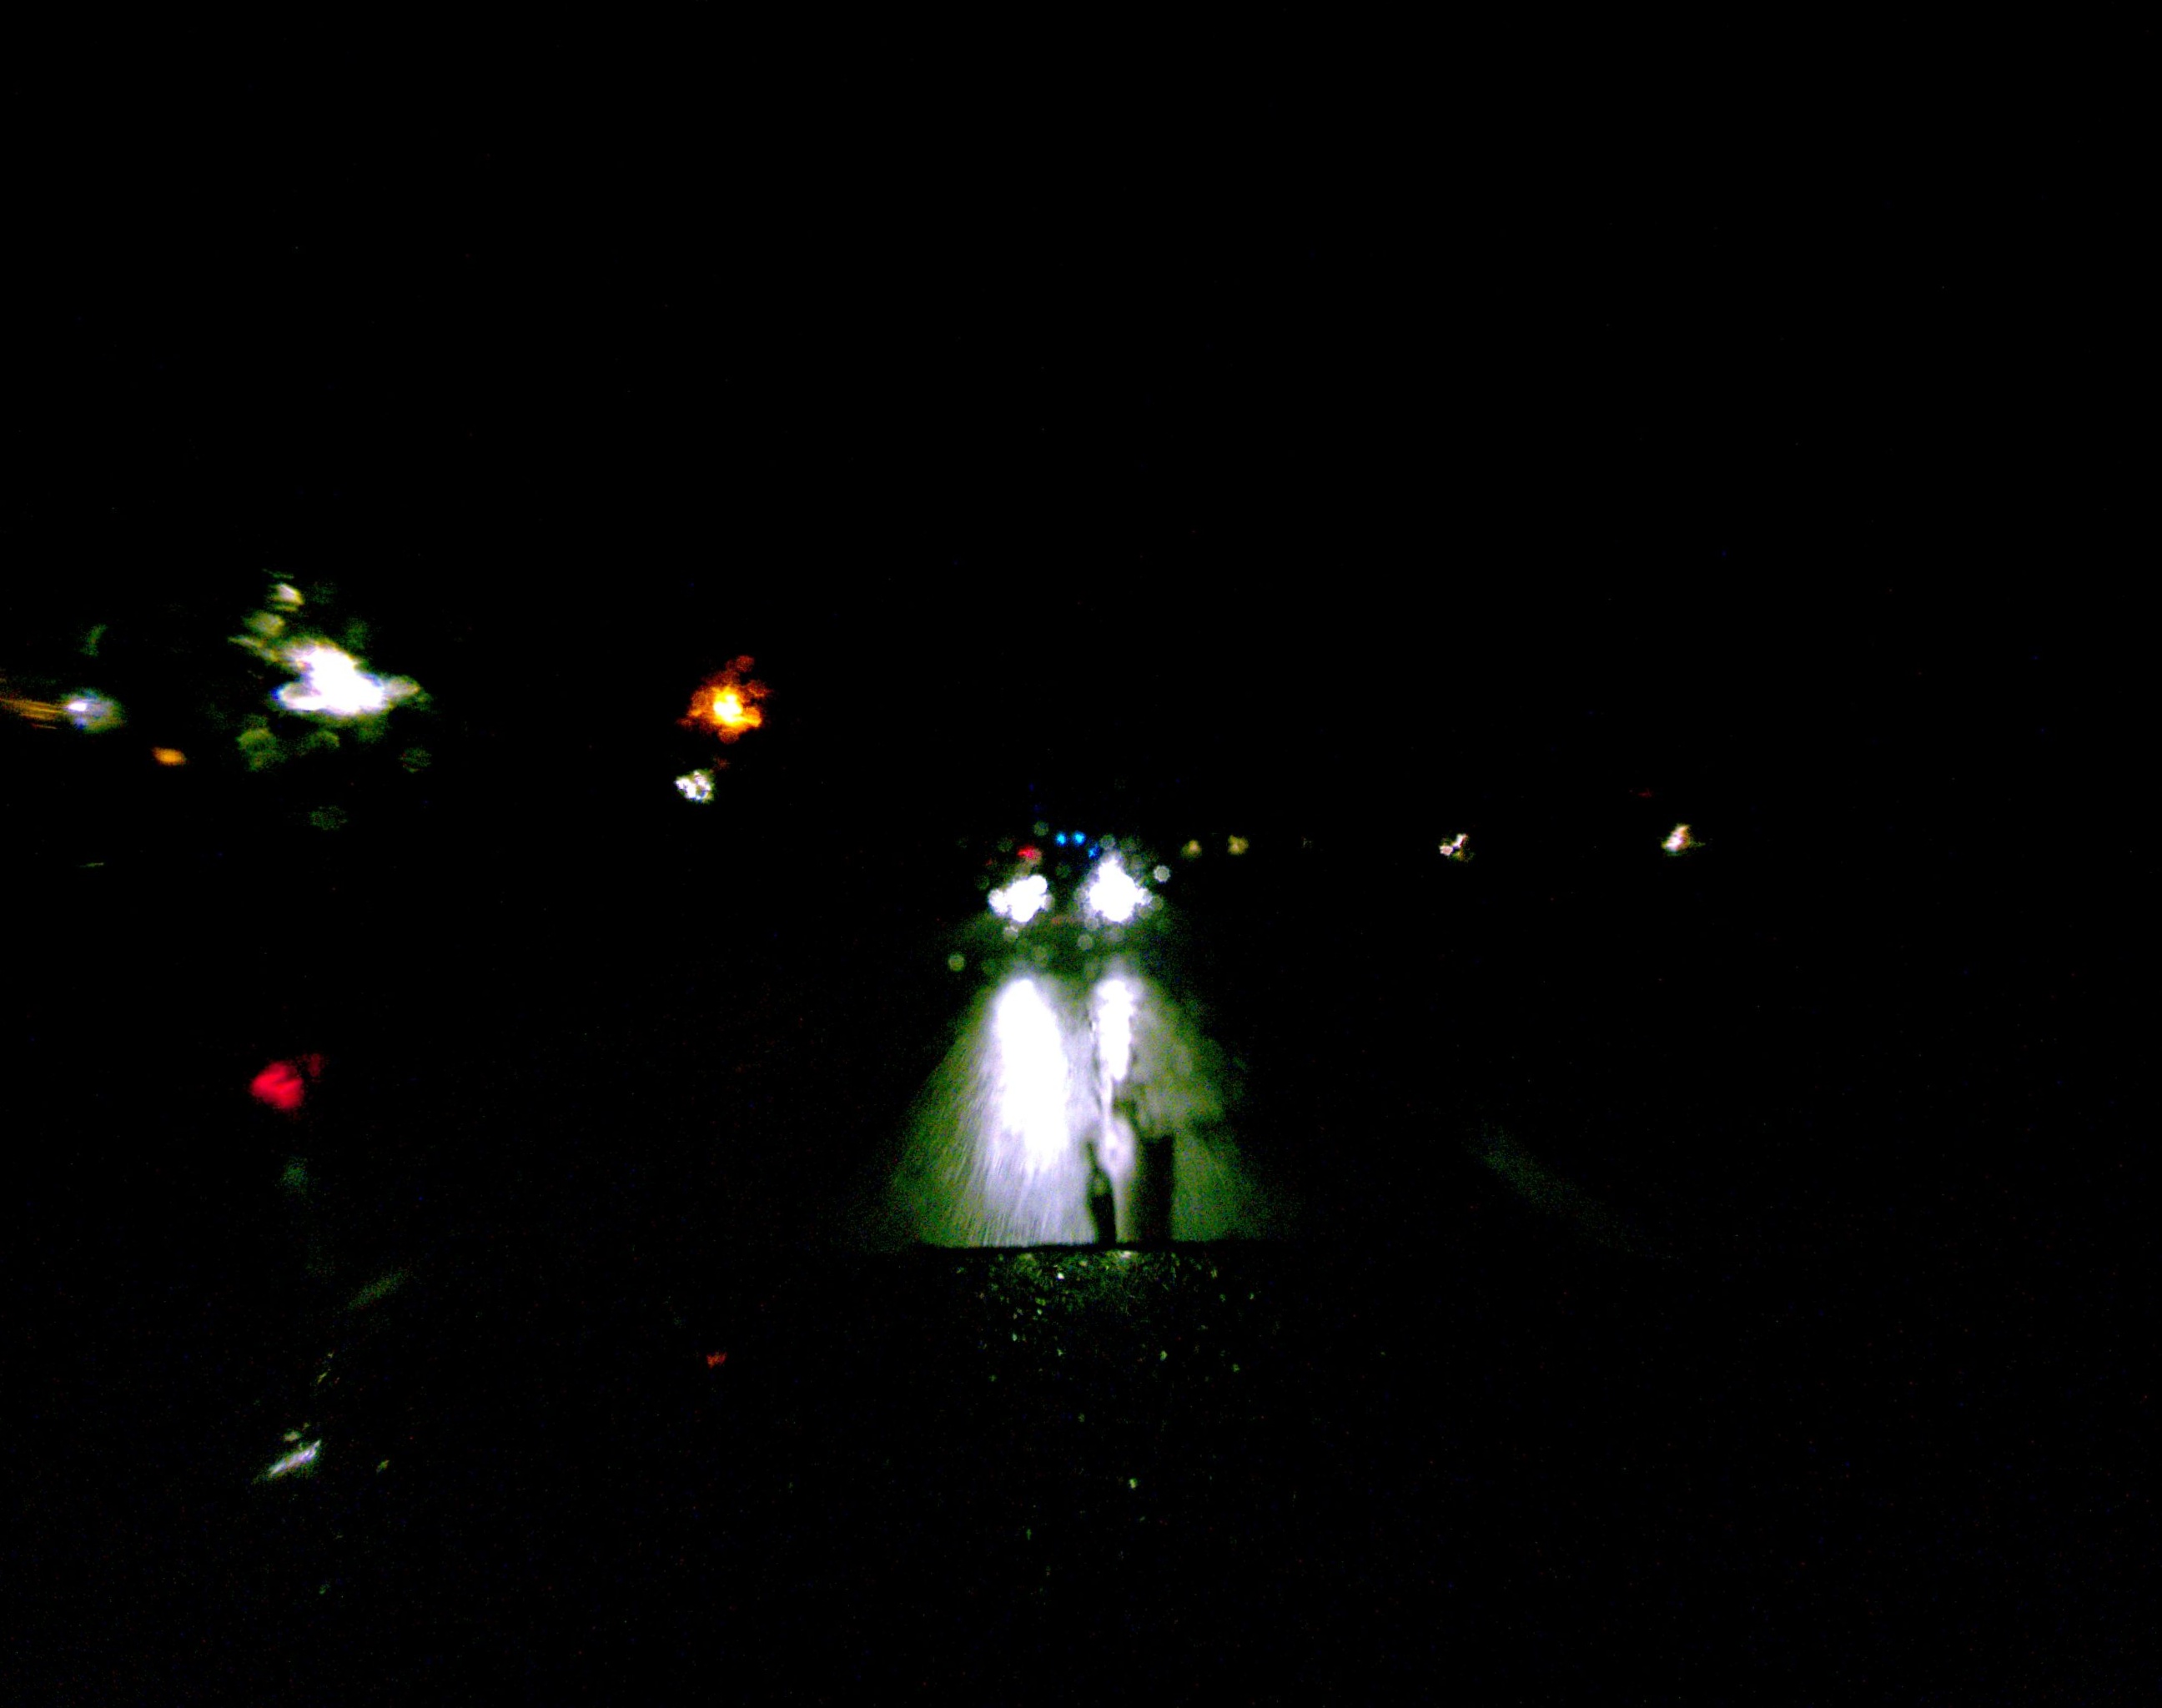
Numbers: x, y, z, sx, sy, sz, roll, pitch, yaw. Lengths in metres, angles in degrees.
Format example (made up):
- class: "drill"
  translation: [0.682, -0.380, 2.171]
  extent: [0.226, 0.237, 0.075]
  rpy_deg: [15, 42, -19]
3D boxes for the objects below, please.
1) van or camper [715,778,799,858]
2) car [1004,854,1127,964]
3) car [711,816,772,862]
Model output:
- class: "van or camper"
  translation: [-12.564, -1.304, 29.842]
  extent: [2.417, 2.777, 5.763]
  rpy_deg: [-3, 1, -18]
- class: "car"
  translation: [-0.207, 0.855, 13.950]
  extent: [1.826, 1.573, 4.354]
  rpy_deg: [-3, 1, 1]
- class: "car"
  translation: [-16.113, -0.692, 36.289]
  extent: [2.001, 2.002, 3.994]
  rpy_deg: [-3, 1, -16]
